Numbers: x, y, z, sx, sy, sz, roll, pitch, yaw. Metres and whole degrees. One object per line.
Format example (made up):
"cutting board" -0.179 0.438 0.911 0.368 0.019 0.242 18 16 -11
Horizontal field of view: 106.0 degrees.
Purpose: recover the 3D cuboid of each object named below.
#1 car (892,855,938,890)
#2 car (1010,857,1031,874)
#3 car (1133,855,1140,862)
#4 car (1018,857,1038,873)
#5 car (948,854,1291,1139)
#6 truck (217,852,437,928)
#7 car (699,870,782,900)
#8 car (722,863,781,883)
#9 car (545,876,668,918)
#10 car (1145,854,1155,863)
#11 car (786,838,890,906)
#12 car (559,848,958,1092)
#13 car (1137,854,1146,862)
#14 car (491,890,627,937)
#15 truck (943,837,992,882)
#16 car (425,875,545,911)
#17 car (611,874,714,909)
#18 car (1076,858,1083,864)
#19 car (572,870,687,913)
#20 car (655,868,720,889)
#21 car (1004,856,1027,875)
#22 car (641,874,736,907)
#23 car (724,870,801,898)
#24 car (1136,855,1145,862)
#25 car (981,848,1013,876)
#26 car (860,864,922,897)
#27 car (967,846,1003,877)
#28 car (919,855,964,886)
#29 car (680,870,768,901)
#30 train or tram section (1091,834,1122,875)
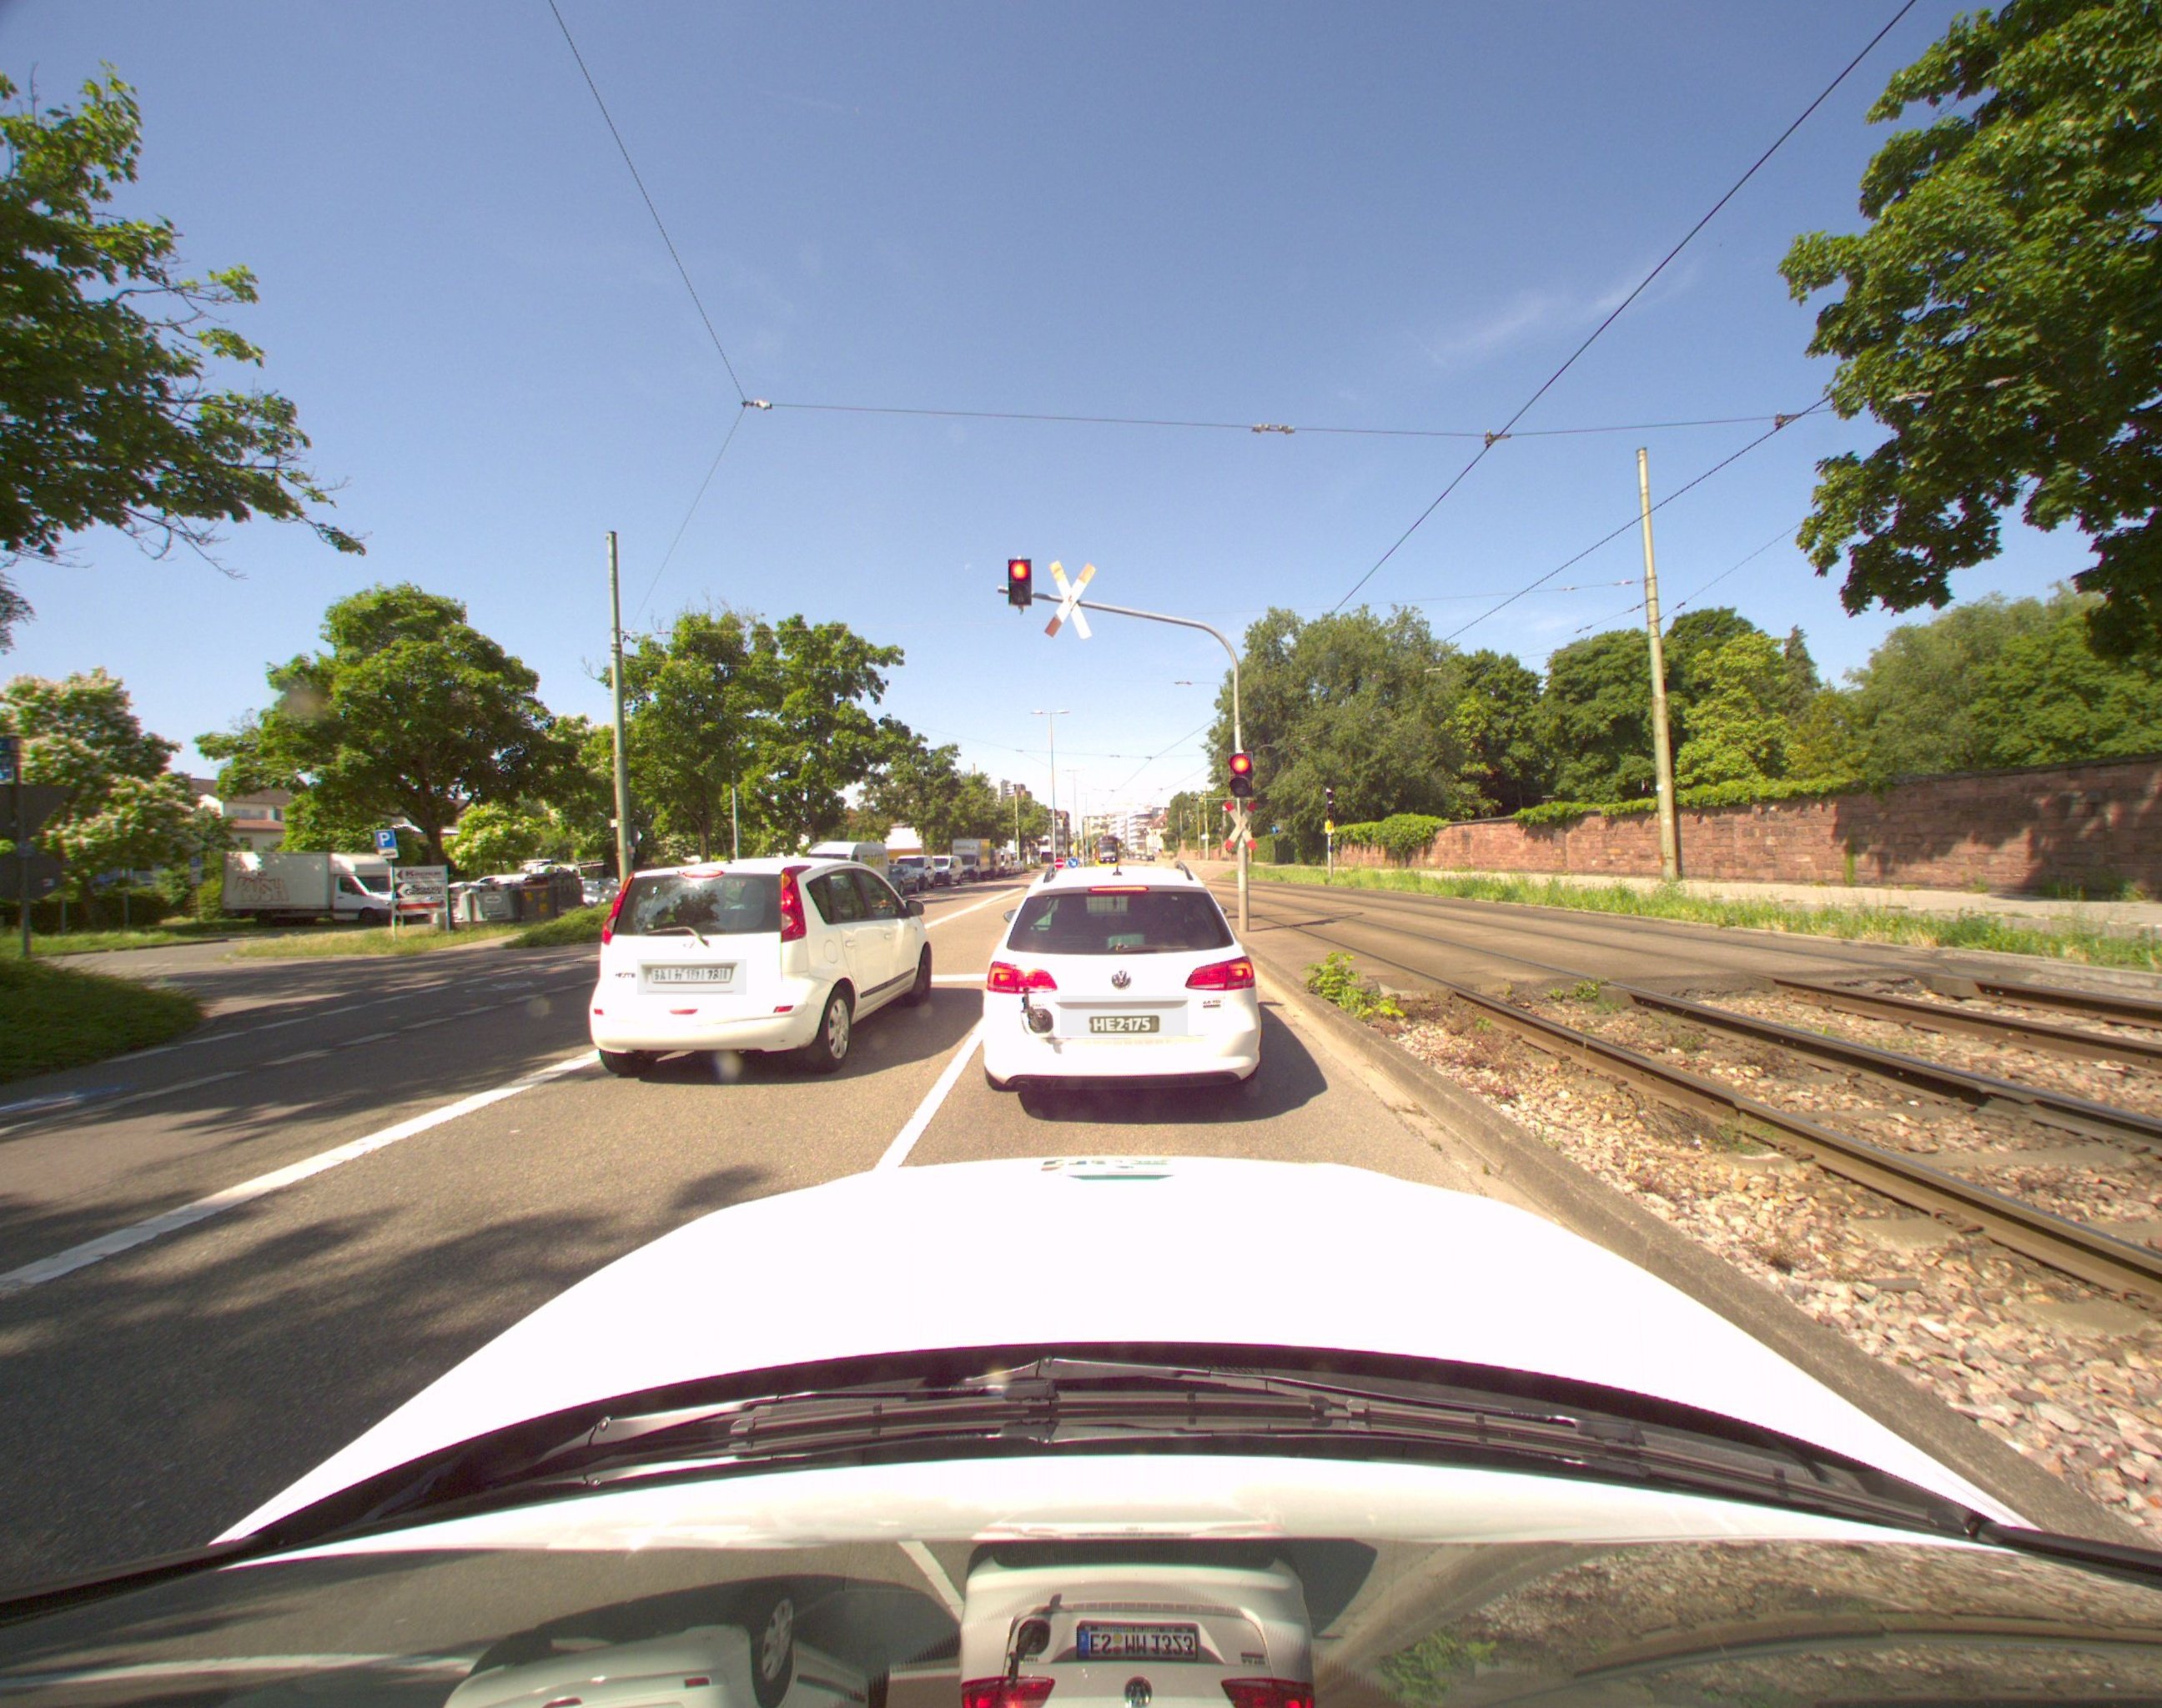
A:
"car" -9.231 0.993 45.681 1.859 1.868 5.068 0 0 -4
"car" -6.781 1.272 92.023 1.856 1.868 5.415 0 0 1
"car" 17.229 1.392 251.384 1.857 1.868 5.063 0 0 1
"car" -6.400 1.359 98.935 1.856 1.868 5.415 0 0 1
"car" 0.265 0.757 6.313 1.756 1.430 4.002 -3 0 2
"truck" -32.426 1.489 35.213 6.979 3.110 2.677 0 0 0
"car" -19.612 1.769 47.059 3.977 1.415 1.729 -4 -1 -3
"car" -31.479 1.823 77.957 4.780 1.787 2.062 0 -1 -3
"car" -19.669 1.771 33.855 3.977 1.415 1.729 -4 -1 -3
"car" 15.308 0.971 180.841 1.857 1.868 5.063 0 0 1
"car" -9.577 0.660 32.745 2.114 2.516 5.822 0 0 3
"car" -2.436 0.749 7.537 1.655 1.547 4.550 -1 0 3
"car" 14.653 0.978 196.007 1.857 1.868 5.063 0 0 1
"car" -19.901 2.236 31.162 3.977 1.415 1.729 -4 -1 -3
"truck" -8.354 0.415 60.684 2.411 3.150 7.001 0 0 2
"car" -31.770 2.050 43.508 4.780 1.787 2.062 0 -1 -3
"car" -20.298 1.807 39.598 3.977 1.415 1.729 -4 -1 -3
"car" -0.327 1.621 189.865 1.700 1.473 4.588 -3 0 0
"car" -19.919 1.630 36.062 3.977 1.610 1.729 -4 -1 -3
"car" -35.203 2.200 72.966 4.780 1.787 2.062 0 -1 -3
"car" -6.831 1.154 85.205 1.856 1.868 5.415 0 0 1
"car" -20.290 1.871 42.209 3.977 1.415 1.729 -4 -1 -3
"car" -19.465 1.823 49.875 3.977 1.415 1.729 -4 -1 -3
"car" 15.372 1.106 210.801 1.857 1.868 5.063 0 0 1
"car" -7.777 0.680 76.116 2.114 2.516 5.737 0 0 2
"car" -9.040 1.224 39.115 1.856 1.415 4.281 0 0 1
"car" -8.066 0.619 68.682 2.114 2.516 5.737 0 0 2
"car" -8.874 1.014 52.264 1.856 1.868 5.415 0 0 1
"car" -19.541 1.724 44.725 3.977 1.415 1.729 -4 -1 -3
"train or tram section" 2.636 0.028 85.665 2.860 3.855 12.396 -3 0 2
